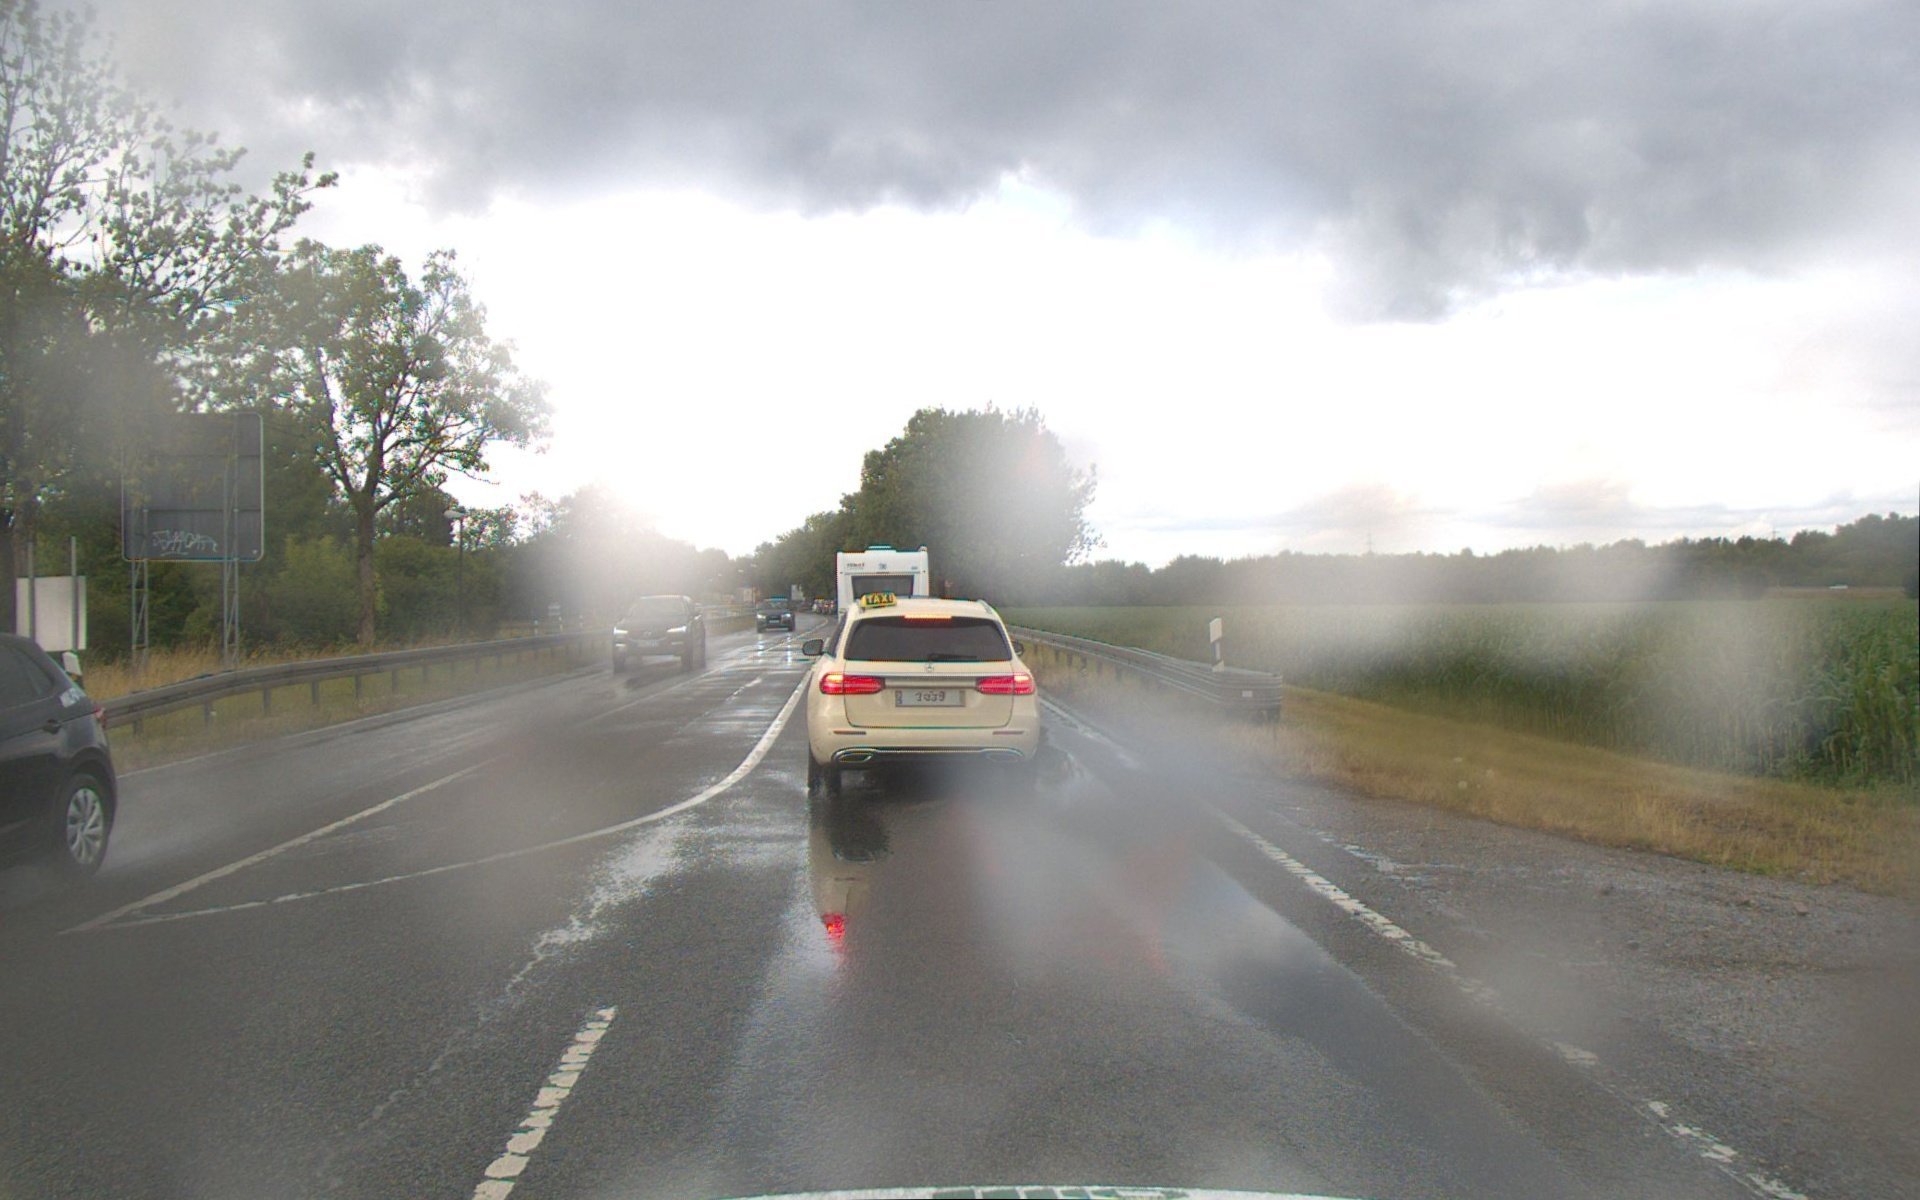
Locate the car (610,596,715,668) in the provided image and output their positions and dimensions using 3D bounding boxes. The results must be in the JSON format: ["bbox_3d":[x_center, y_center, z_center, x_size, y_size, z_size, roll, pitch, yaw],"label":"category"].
[{"bbox_3d":[-7.268,0.732,40.786,1.905,1.608,4.441,-1,0,-2],"label":"car"}]

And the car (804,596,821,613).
[{"bbox_3d":[-17.910,0.553,200.766,1.955,2.049,3.995,-1,0,-6],"label":"car"}]

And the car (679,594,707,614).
[{"bbox_3d":[-23.174,0.315,143.710,1.953,1.680,3.998,-1,0,-2],"label":"car"}]

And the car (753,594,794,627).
[{"bbox_3d":[-9.347,0.522,83.122,1.733,1.550,4.139,-2,0,-2],"label":"car"}]

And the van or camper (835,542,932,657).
[{"bbox_3d":[-1.982,-0.031,42.648,2.304,2.727,5.765,-1,0,-3],"label":"van or camper"}]

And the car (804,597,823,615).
[{"bbox_3d":[-16.762,0.672,189.751,1.953,2.087,3.998,-1,0,-2],"label":"car"}]

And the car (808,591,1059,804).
[{"bbox_3d":[-0.254,0.697,13.892,1.788,1.511,4.143,0,0,-2],"label":"car"}]

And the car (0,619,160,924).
[{"bbox_3d":[-5.416,0.855,7.677,1.678,1.430,3.811,-2,0,-3],"label":"car"}]

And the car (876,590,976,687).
[{"bbox_3d":[-0.658,0.617,29.020,1.595,1.556,3.930,-1,0,-3],"label":"car"}]

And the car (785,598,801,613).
[{"bbox_3d":[-23.481,0.718,232.386,1.956,2.049,3.993,-1,0,-8],"label":"car"}]

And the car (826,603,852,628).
[{"bbox_3d":[-10.354,1.289,141.230,1.956,2.049,3.992,-1,0,-8],"label":"car"}]
